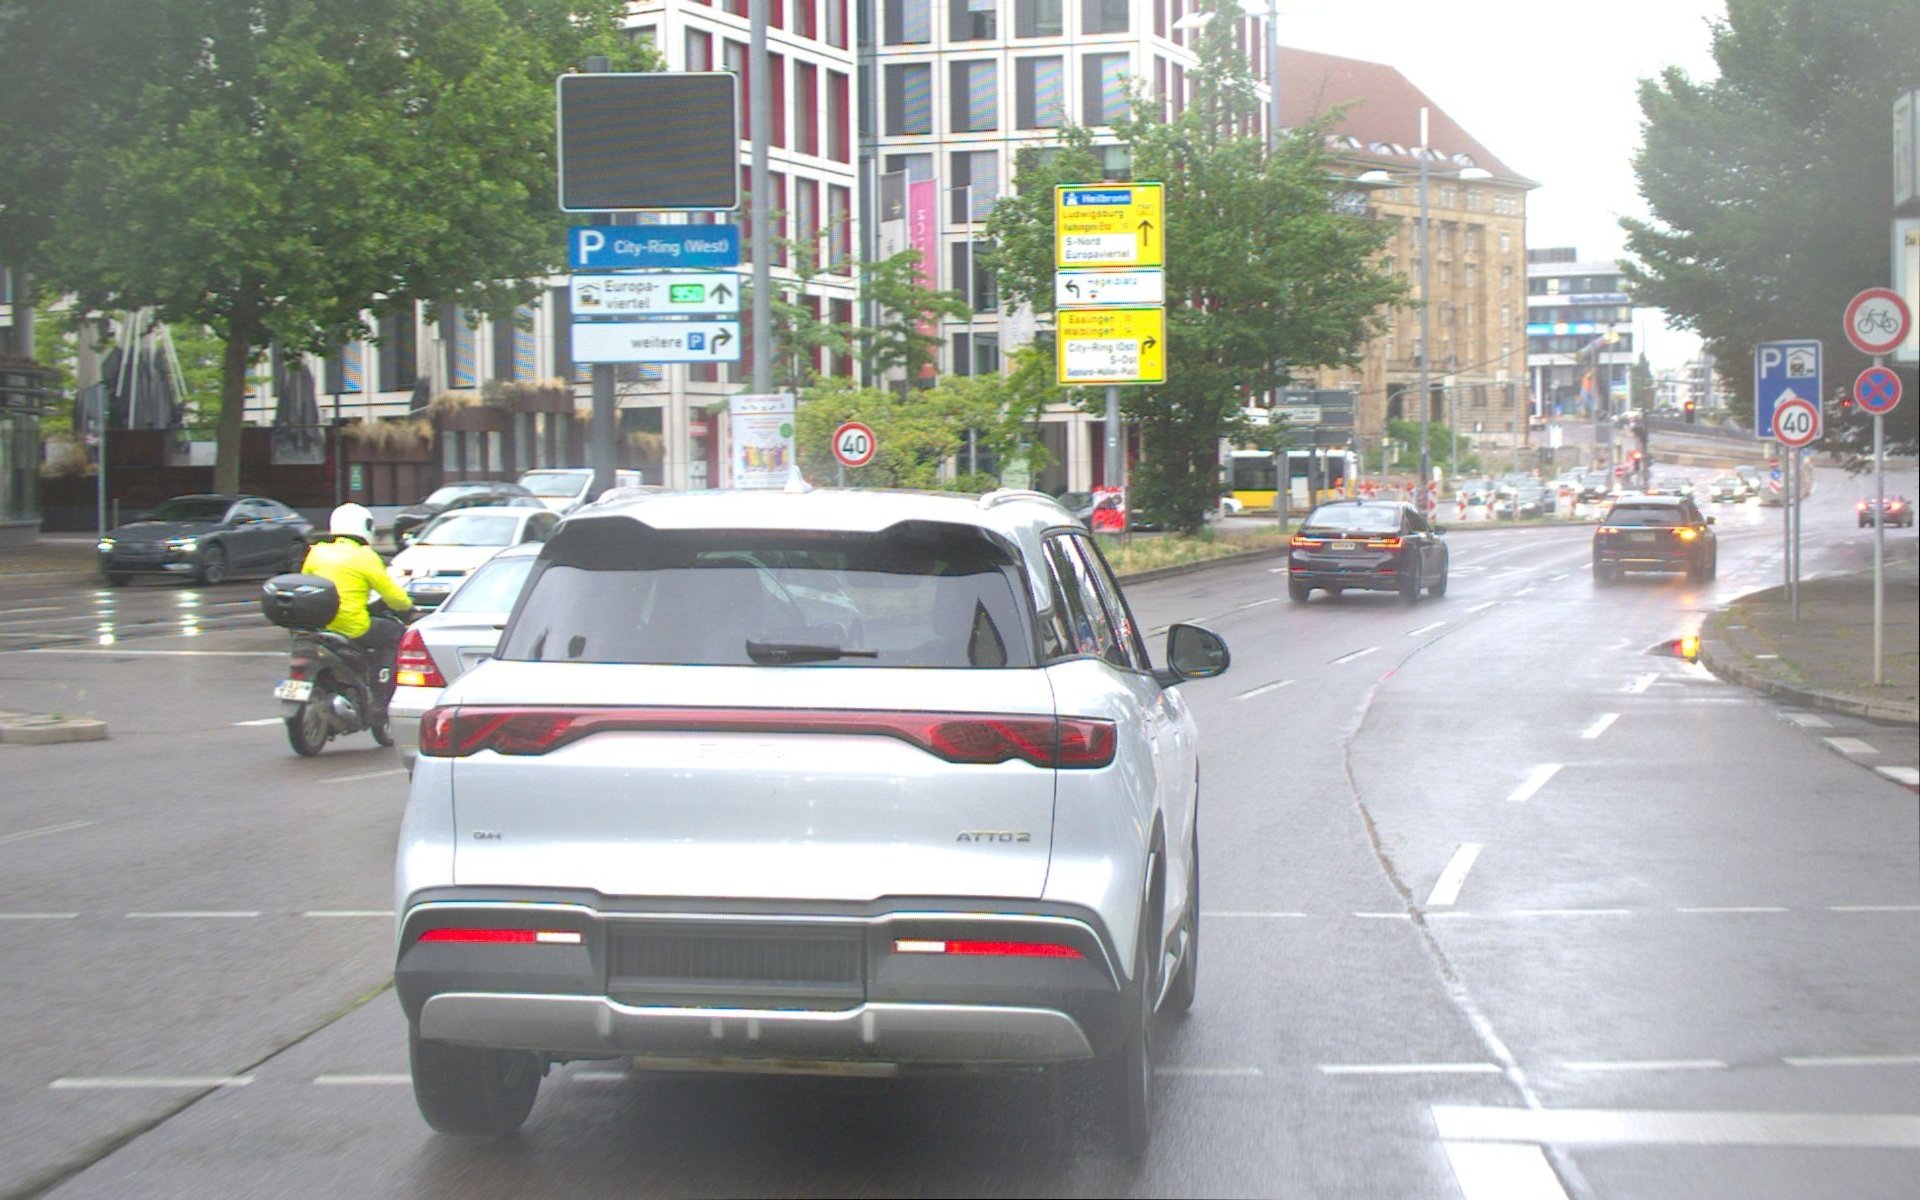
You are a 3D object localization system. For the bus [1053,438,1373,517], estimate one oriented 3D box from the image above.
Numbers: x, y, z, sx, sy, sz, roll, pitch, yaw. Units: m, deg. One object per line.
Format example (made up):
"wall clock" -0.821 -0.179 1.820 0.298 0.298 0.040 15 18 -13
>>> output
"bus" 13.858 -6.719 188.402 16.973 4.049 4.435 1 0 13

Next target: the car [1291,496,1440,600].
"car" 6.094 -0.755 51.381 1.572 1.481 3.997 1 0 16

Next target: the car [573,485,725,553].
"car" -6.876 -1.820 76.435 1.995 1.483 3.997 1 2 17

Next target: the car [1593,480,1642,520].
"car" 27.589 -4.177 144.150 1.889 1.637 3.998 1 1 12

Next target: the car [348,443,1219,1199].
"car" -0.251 0.491 9.555 1.776 1.673 3.999 1 0 6

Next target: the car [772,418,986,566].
"car" -1.115 -1.531 50.380 1.995 2.007 4.846 1 0 13

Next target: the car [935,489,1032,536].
"car" 0.774 -2.808 109.642 1.995 1.483 3.997 1 2 17

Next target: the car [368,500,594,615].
"car" -6.241 -0.593 45.203 1.632 1.432 3.905 0 2 13

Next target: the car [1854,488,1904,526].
"car" 38.528 -3.896 144.112 1.695 1.481 3.996 1 0 20

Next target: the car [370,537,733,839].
"car" -2.058 0.405 18.240 1.570 1.402 4.110 1 0 -2

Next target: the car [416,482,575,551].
"car" -10.325 -1.883 76.690 1.995 1.483 3.997 1 2 17

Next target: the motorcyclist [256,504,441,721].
"motorcyclist" -4.009 0.078 22.599 0.770 1.375 1.117 1 0 16

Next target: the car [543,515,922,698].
"car" -1.914 0.047 30.209 1.709 1.481 3.995 1 0 23

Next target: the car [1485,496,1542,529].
"car" 25.226 -4.007 156.663 1.995 1.481 3.997 1 2 18

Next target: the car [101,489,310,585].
"car" -12.739 -1.104 58.327 1.632 1.553 4.590 0 2 13

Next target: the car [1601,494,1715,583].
"car" 12.201 -1.048 59.930 1.695 1.481 3.997 1 0 15

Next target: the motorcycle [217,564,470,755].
"motorcycle" -4.017 0.370 22.567 0.801 1.180 2.027 1 0 16
